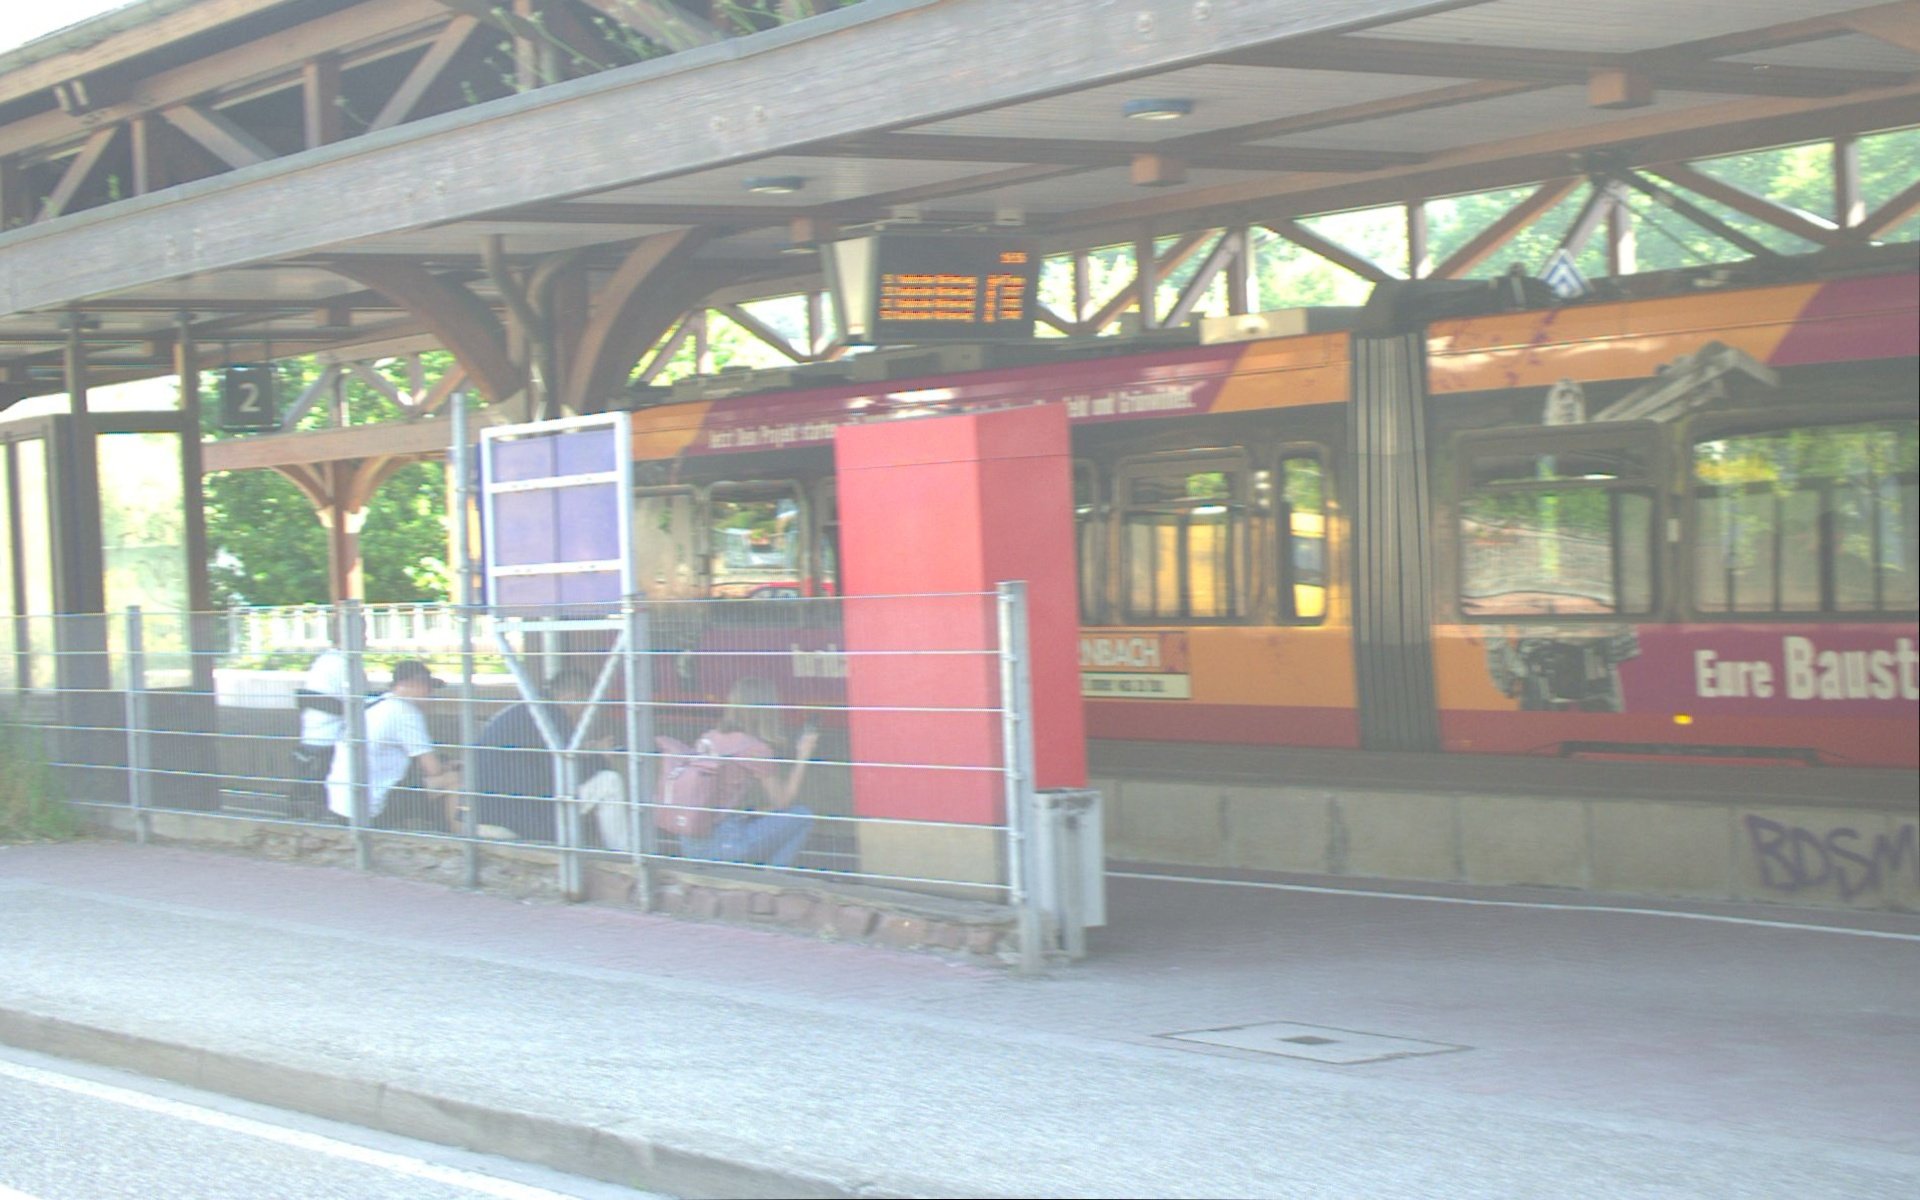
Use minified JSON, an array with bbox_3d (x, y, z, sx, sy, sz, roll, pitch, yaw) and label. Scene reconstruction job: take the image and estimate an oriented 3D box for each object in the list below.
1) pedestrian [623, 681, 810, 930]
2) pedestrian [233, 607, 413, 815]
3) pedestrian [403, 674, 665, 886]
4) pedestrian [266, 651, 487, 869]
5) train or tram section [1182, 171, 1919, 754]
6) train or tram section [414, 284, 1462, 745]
[{"bbox_3d":[-0.985,0.819,13.902,0.617,0.962,0.406,1,1,-40],"label":"pedestrian"},{"bbox_3d":[-3.556,0.606,19.194,0.742,1.112,0.667,1,1,-40],"label":"pedestrian"},{"bbox_3d":[-1.898,0.785,15.302,0.845,0.871,0.807,1,1,-40],"label":"pedestrian"},{"bbox_3d":[-2.795,0.749,16.459,0.742,0.979,0.769,1,1,-40],"label":"pedestrian"},{"bbox_3d":[6.320,-0.781,21.039,2.787,3.353,12.045,1,-1,-37],"label":"train or tram section"},{"bbox_3d":[-0.810,-0.679,30.665,2.756,3.353,12.046,1,0,-36],"label":"train or tram section"}]
